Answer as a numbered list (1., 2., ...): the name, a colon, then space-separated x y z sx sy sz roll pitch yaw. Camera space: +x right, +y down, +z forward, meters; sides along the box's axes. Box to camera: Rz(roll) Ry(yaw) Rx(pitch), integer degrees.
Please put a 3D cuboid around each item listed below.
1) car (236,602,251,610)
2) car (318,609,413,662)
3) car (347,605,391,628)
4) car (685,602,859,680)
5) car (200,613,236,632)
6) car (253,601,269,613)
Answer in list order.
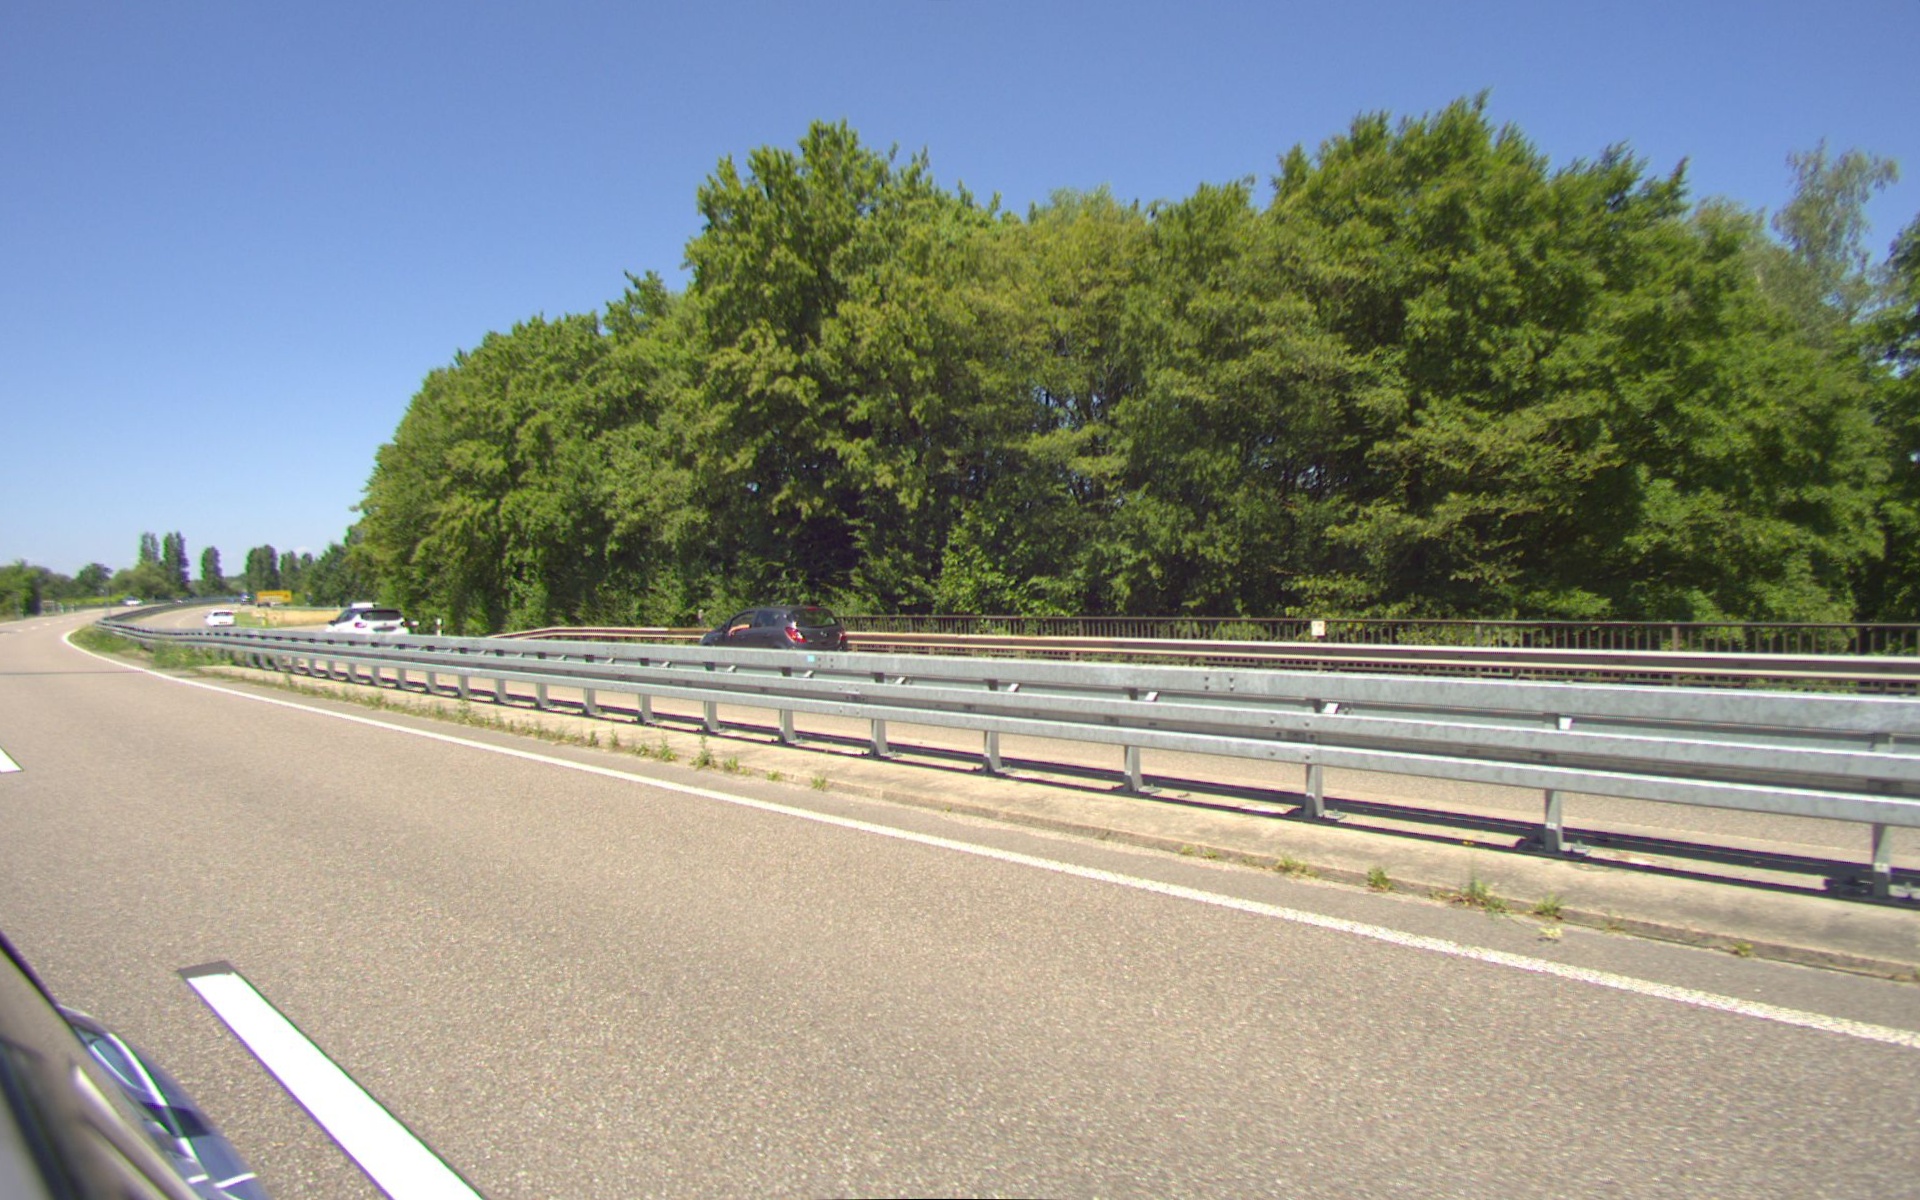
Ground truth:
1. car: -142.361 1.242 201.166 1.798 1.630 4.554 0 -1 -28
2. car: -19.563 1.120 33.214 4.221 1.619 1.632 -1 -1 44
3. car: -52.477 1.485 89.950 1.962 1.966 5.656 0 -1 -15
4. car: -4.148 0.836 21.958 3.997 1.540 1.633 -1 -1 42
5. car: -56.431 1.698 76.920 1.632 1.458 4.222 0 -1 -45
6. car: -128.441 1.254 186.038 1.966 2.028 4.013 -3 3 -29
